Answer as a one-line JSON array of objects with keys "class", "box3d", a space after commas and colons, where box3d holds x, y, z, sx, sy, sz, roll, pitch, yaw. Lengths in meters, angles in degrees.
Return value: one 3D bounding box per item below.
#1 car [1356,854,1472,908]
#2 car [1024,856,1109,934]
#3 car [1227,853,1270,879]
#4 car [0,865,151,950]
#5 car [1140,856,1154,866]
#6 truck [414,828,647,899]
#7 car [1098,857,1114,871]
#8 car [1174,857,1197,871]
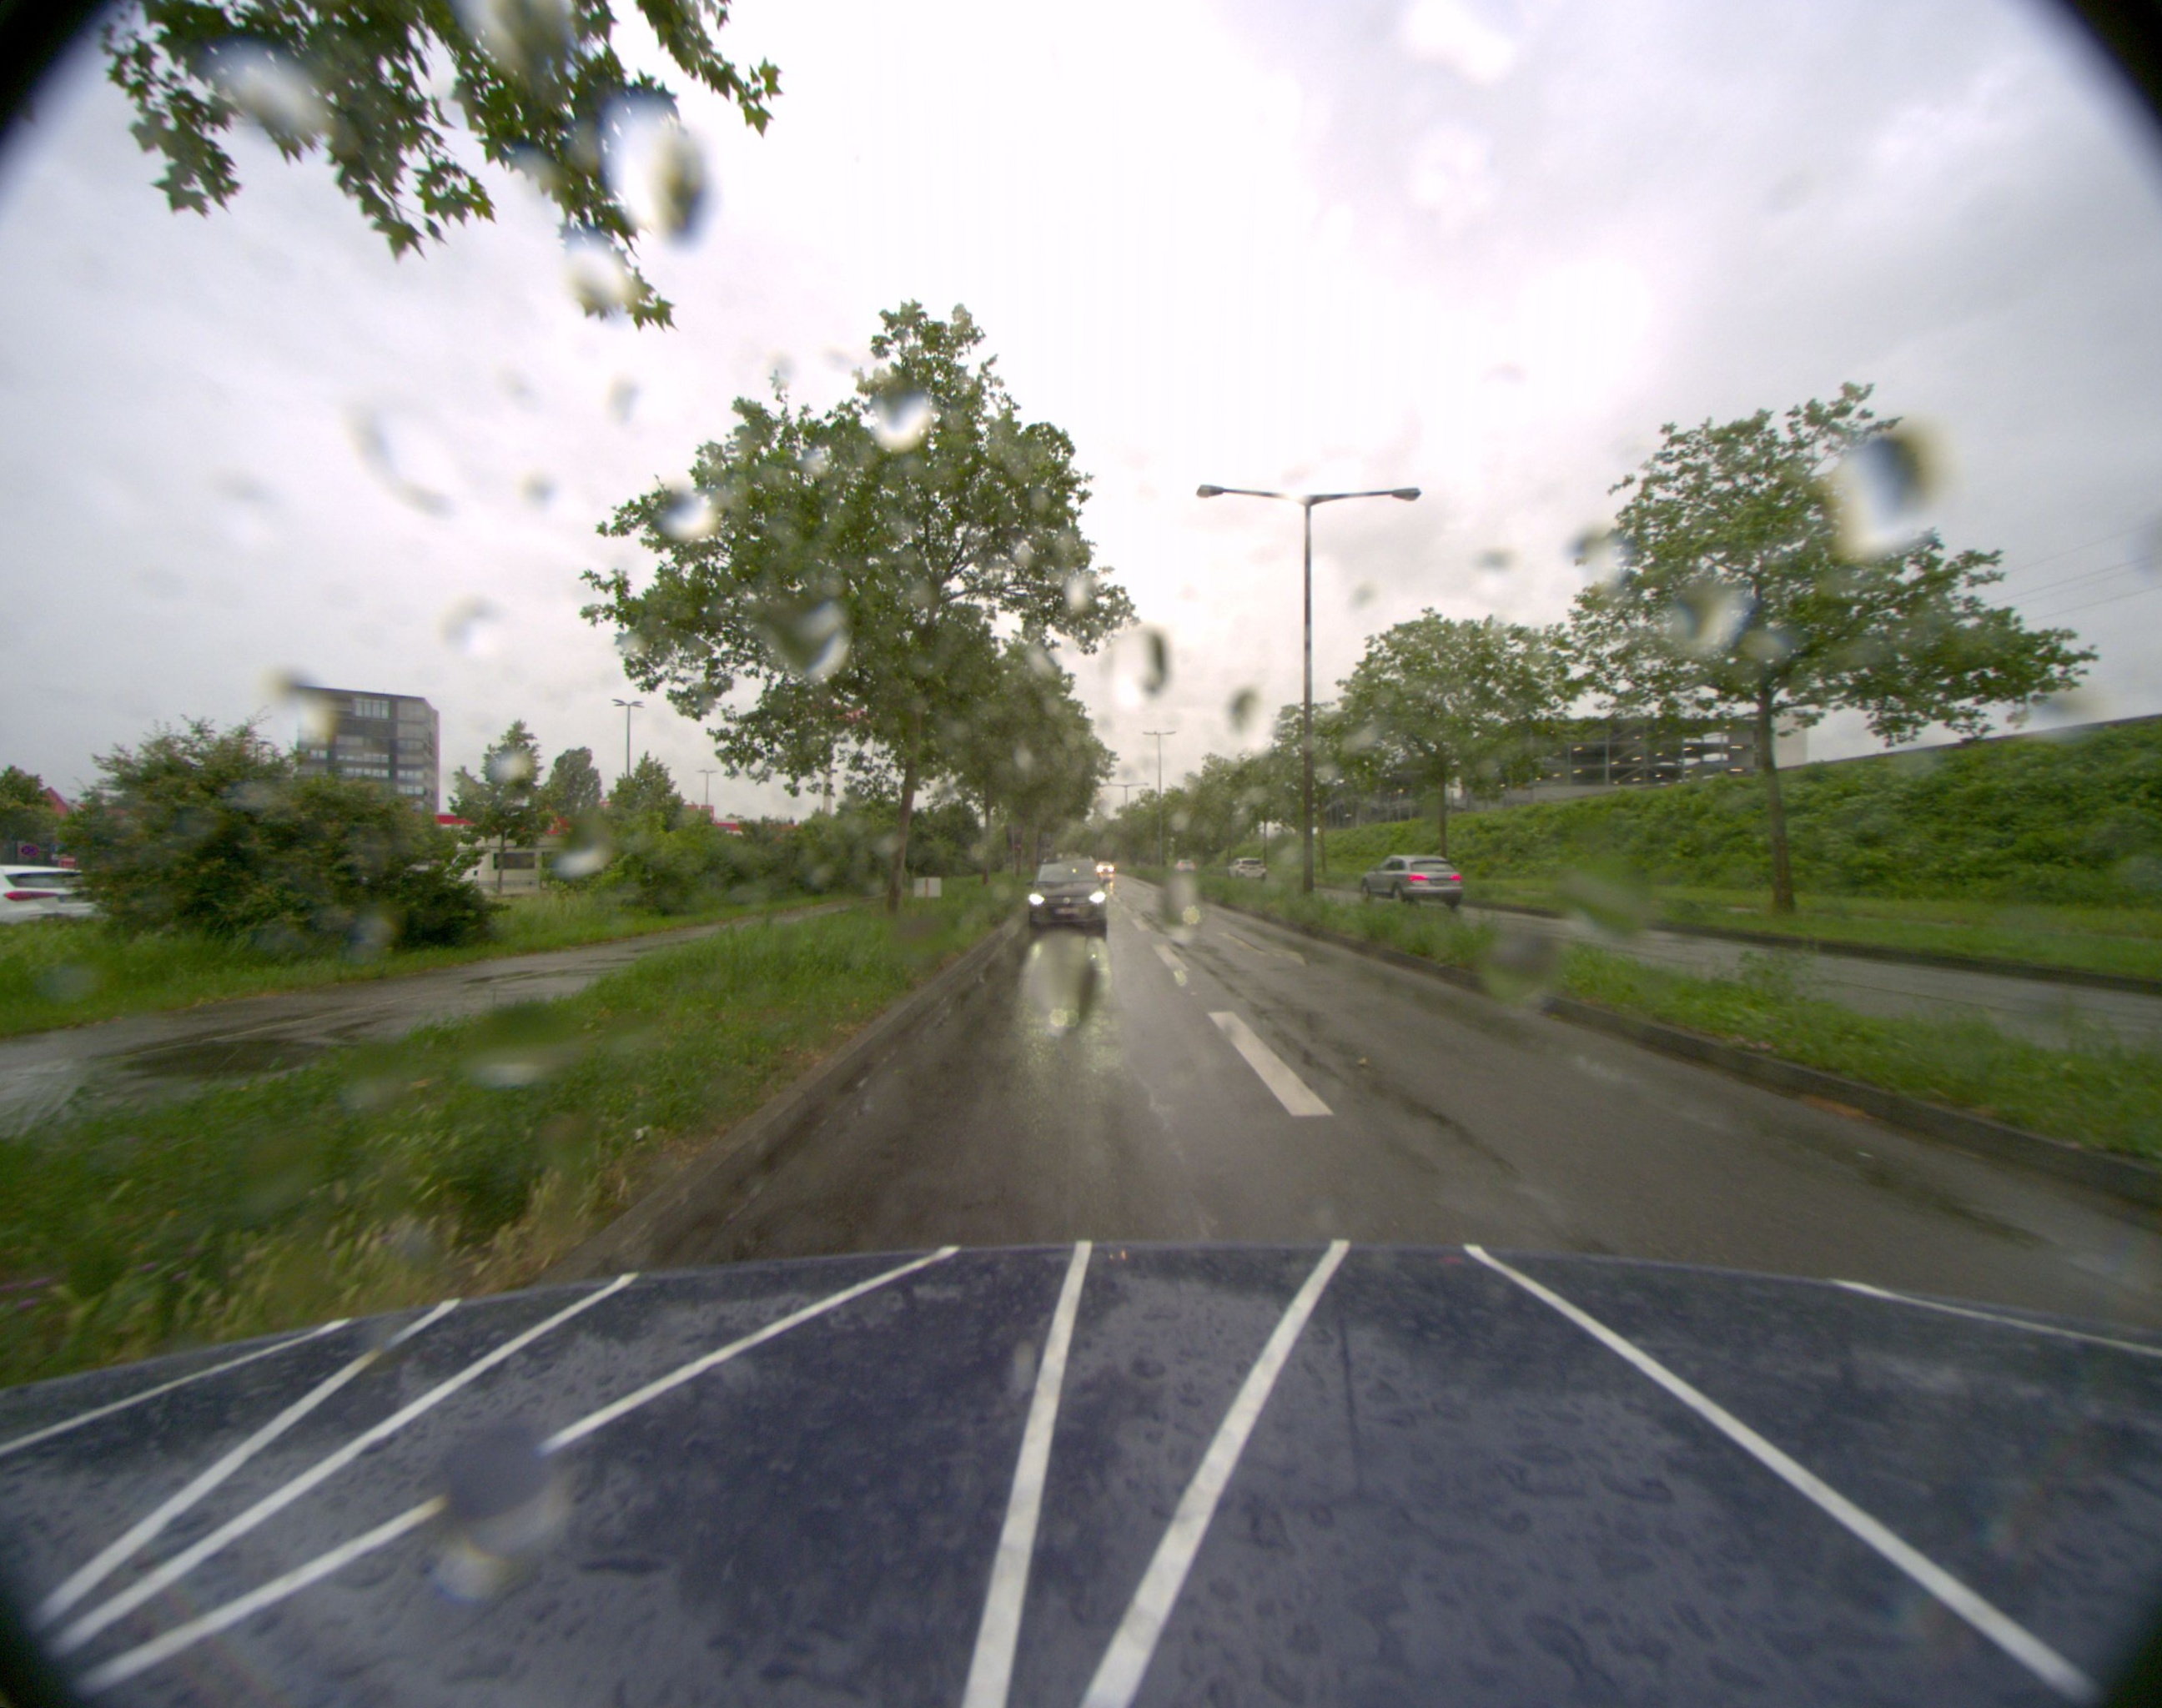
[{"class": "car", "box3d": [10.810, 0.810, 25.081, 1.861, 1.580, 4.518, 1, 0, 1]}, {"class": "car", "box3d": [-0.256, 0.907, 19.000, 1.788, 1.605, 4.717, -2, 0, 1]}, {"class": "car", "box3d": [10.966, 0.756, 50.062, 1.861, 1.579, 4.518, 0, 0, 1]}, {"class": "car", "box3d": [-19.730, 0.961, 13.441, 3.998, 1.357, 1.867, -2, 1, -3]}, {"class": "car", "box3d": [9.981, 0.987, 115.082, 1.936, 1.436, 3.707, -1, 0, 0]}, {"class": "truck", "box3d": [-19.881, 0.313, 27.765, 6.552, 2.291, 2.219, -2, 1, -6]}, {"class": "car", "box3d": [2.845, 1.106, 86.389, 1.729, 1.470, 4.000, -3, 0, 1]}, {"class": "car", "box3d": [11.411, 1.033, 83.172, 1.936, 1.436, 4.657, -1, 0, 0]}]
